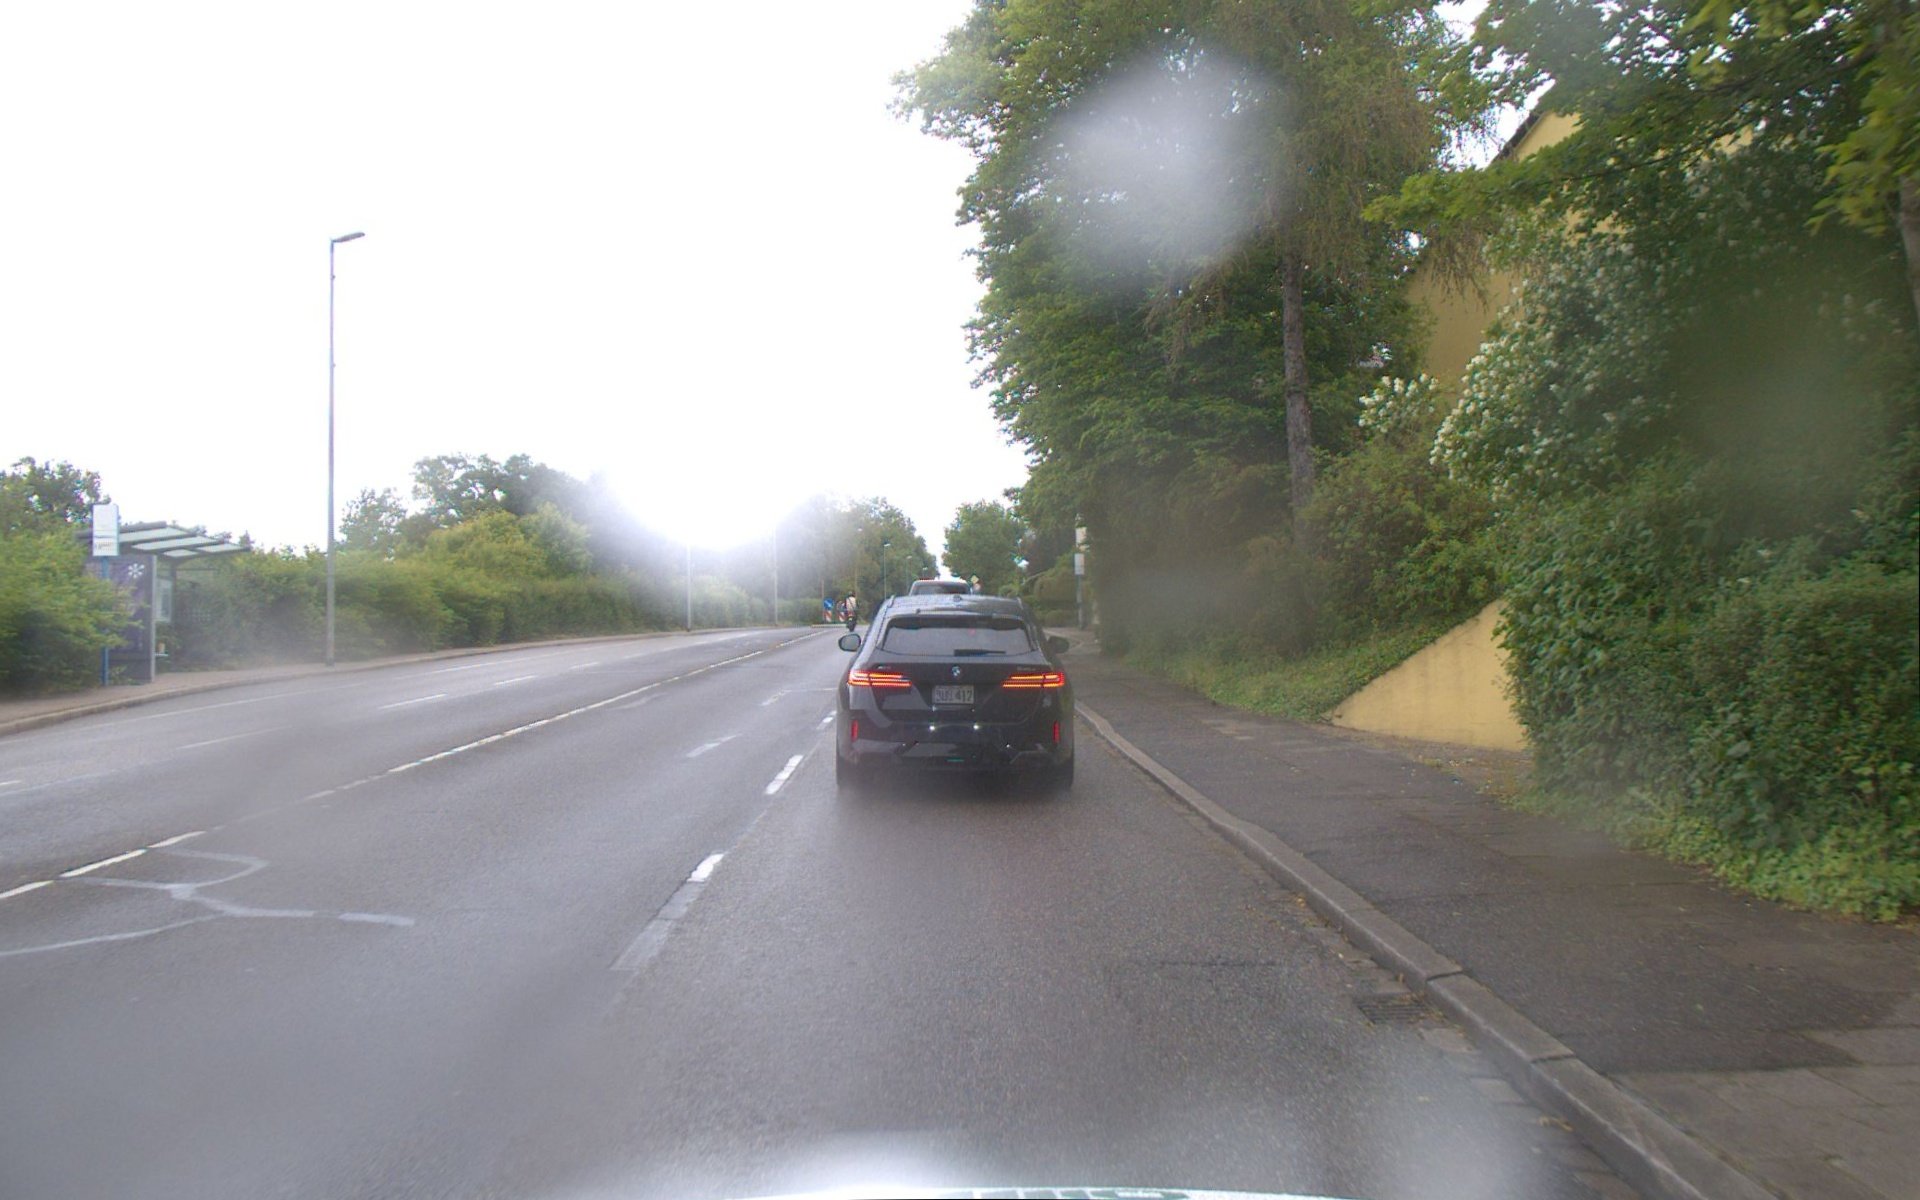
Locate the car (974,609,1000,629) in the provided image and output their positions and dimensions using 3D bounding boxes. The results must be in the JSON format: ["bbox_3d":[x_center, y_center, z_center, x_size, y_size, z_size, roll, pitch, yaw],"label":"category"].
[{"bbox_3d":[2.054,1.422,125.478,1.895,1.467,4.409,-1,0,2],"label":"car"}]

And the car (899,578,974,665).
[{"bbox_3d":[-0.536,0.465,37.946,1.596,1.865,3.999,-1,0,-1],"label":"car"}]

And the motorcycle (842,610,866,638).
[{"bbox_3d":[-4.507,1.010,70.221,0.858,1.144,2.740,1,-1,-1],"label":"motorcycle"}]

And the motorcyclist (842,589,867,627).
[{"bbox_3d":[-4.482,0.344,70.302,1.018,1.595,0.855,1,-1,-1],"label":"motorcyclist"}]

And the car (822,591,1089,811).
[{"bbox_3d":[-0.020,0.733,13.753,1.858,1.515,4.000,1,0,0],"label":"car"}]
